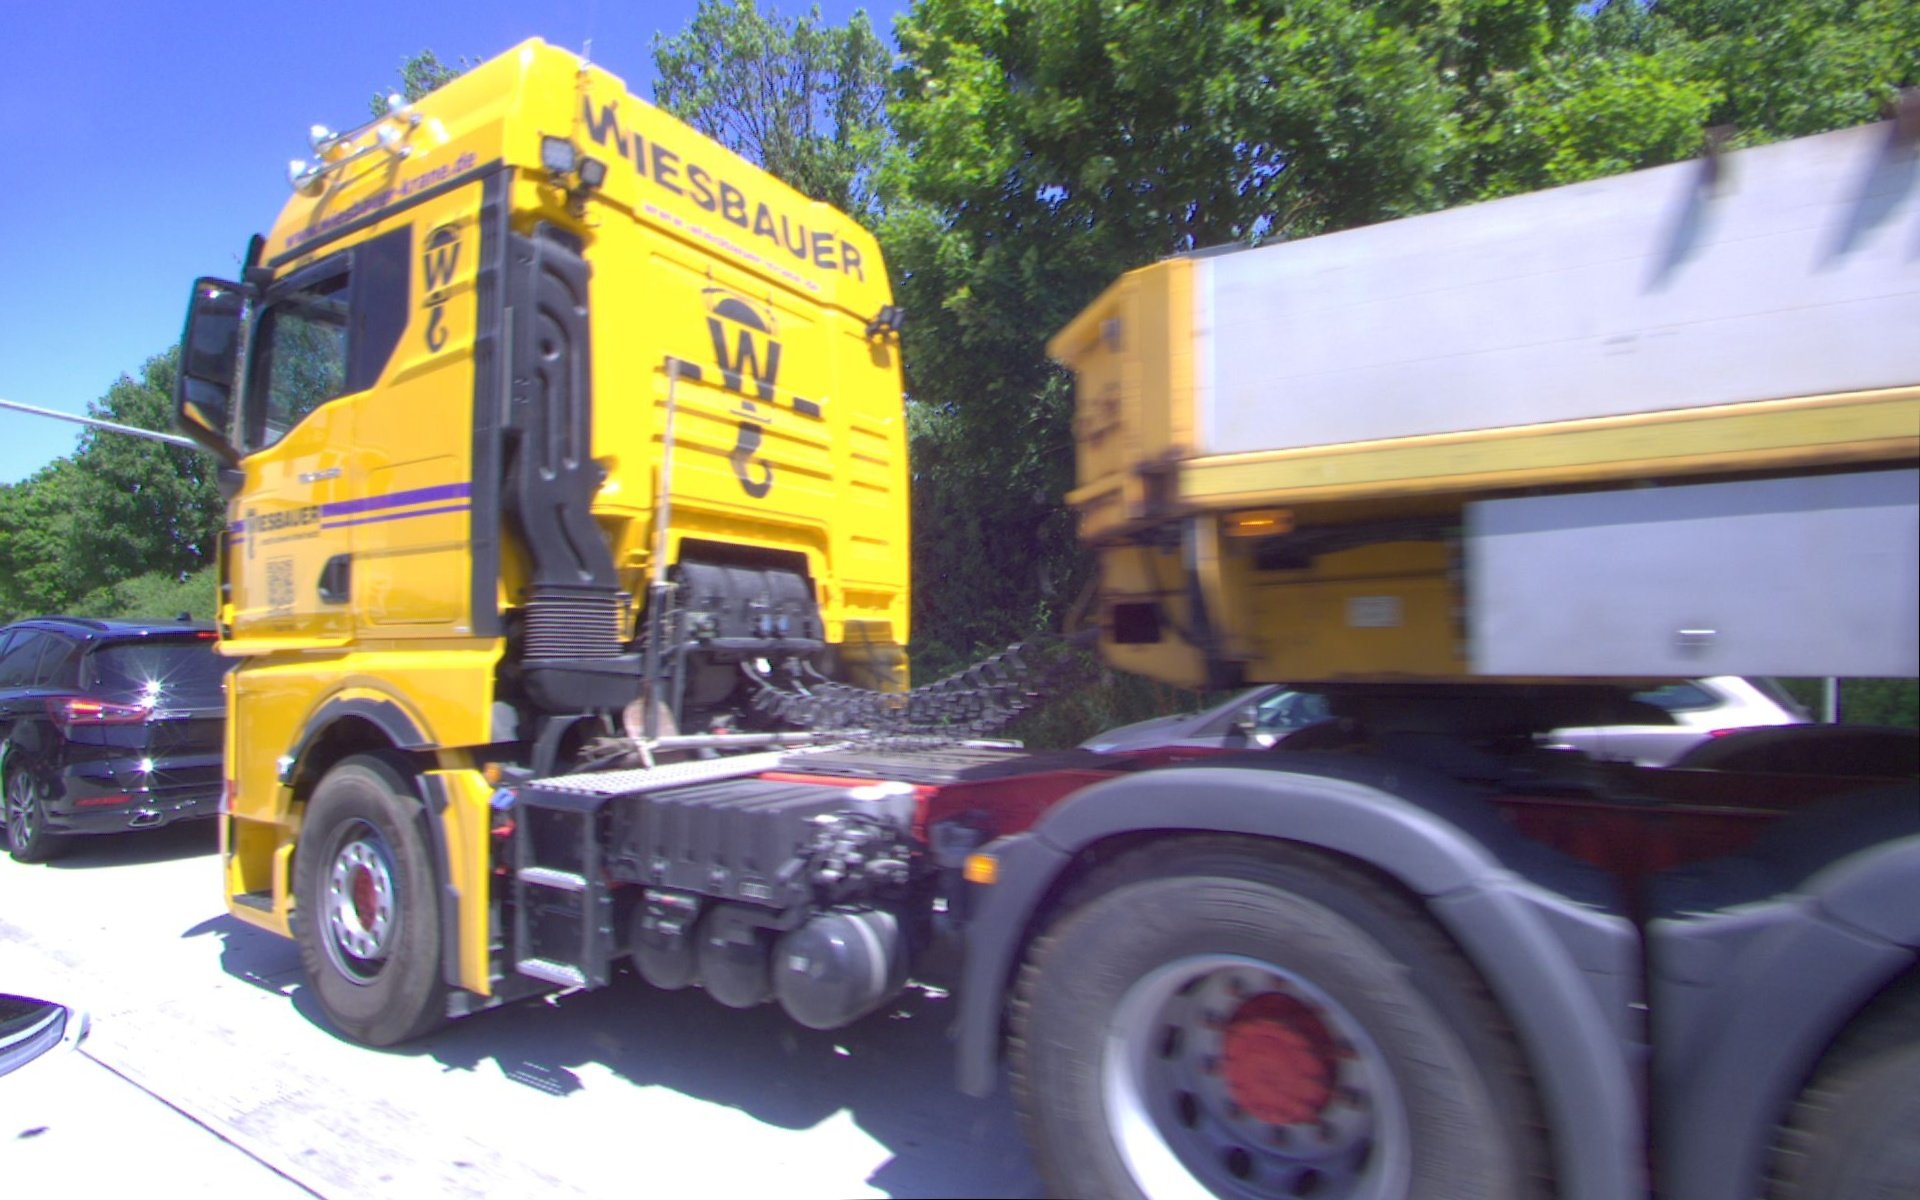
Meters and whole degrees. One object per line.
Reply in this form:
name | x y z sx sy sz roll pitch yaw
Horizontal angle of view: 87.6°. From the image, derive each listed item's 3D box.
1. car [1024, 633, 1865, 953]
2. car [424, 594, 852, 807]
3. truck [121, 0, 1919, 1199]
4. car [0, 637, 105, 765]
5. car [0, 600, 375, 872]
car | 2.729 0.973 6.474 4.299 1.480 1.766 -2 -2 29
car | -3.539 0.954 10.639 4.726 1.830 1.764 -2 -2 33
truck | 0.386 -0.356 3.626 7.361 3.820 3.010 -1 -2 31
car | -12.533 1.193 12.491 4.548 1.428 1.763 -2 -2 35
car | -6.875 0.915 8.106 4.581 1.660 1.781 -2 -2 32
